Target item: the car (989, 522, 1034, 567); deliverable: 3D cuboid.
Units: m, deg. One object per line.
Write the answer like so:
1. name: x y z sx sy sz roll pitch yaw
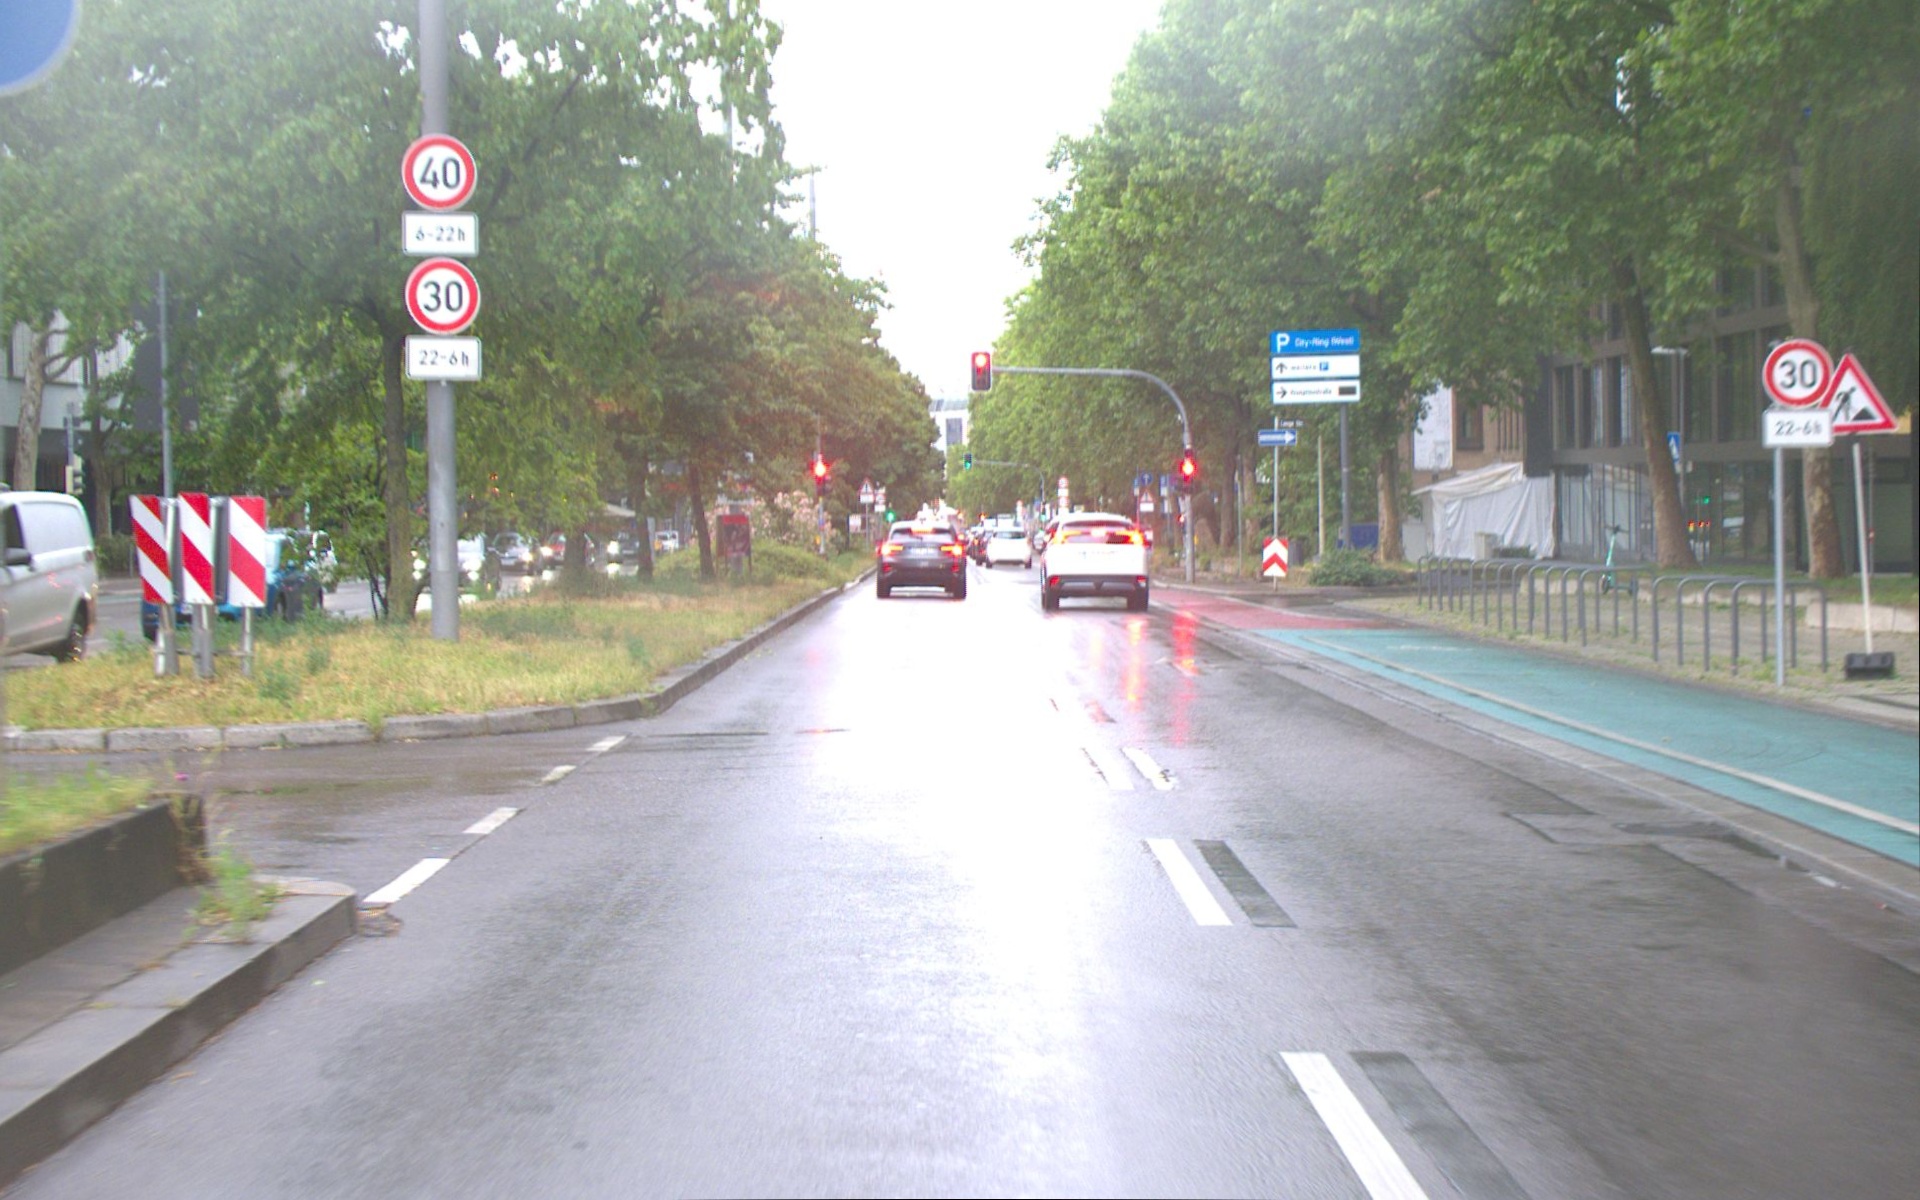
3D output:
1. car: 1.951 -2.120 130.949 1.620 1.660 4.000 -1 1 -1

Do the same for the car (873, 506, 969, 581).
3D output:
1. car: -0.806 -1.191 71.033 1.918 1.486 4.001 0 2 -1

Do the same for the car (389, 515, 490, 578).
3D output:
1. car: -12.021 -1.249 79.583 1.843 1.424 3.643 0 1 -1

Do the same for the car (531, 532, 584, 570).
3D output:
1. car: -15.398 -1.901 131.626 1.614 1.389 4.185 0 2 -1

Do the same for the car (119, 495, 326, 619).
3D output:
1. car: -9.730 -0.607 45.668 1.843 1.477 4.397 1 2 -1

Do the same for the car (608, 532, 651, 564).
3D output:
1. car: -14.840 -2.326 154.331 1.614 1.389 3.598 0 2 -1

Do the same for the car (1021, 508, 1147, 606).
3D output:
1. car: 2.156 -0.801 61.060 1.993 1.649 4.889 0 2 -1

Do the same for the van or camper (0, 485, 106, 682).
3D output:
1. van or camper: -10.310 -0.215 34.948 1.993 1.907 5.252 0 2 -1

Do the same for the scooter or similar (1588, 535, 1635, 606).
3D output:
1. scooter or similar: 11.334 -0.521 59.823 0.381 1.224 1.077 1 1 36

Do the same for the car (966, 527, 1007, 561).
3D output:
1. car: 1.096 -2.325 142.929 1.620 1.369 4.000 -1 1 -1
